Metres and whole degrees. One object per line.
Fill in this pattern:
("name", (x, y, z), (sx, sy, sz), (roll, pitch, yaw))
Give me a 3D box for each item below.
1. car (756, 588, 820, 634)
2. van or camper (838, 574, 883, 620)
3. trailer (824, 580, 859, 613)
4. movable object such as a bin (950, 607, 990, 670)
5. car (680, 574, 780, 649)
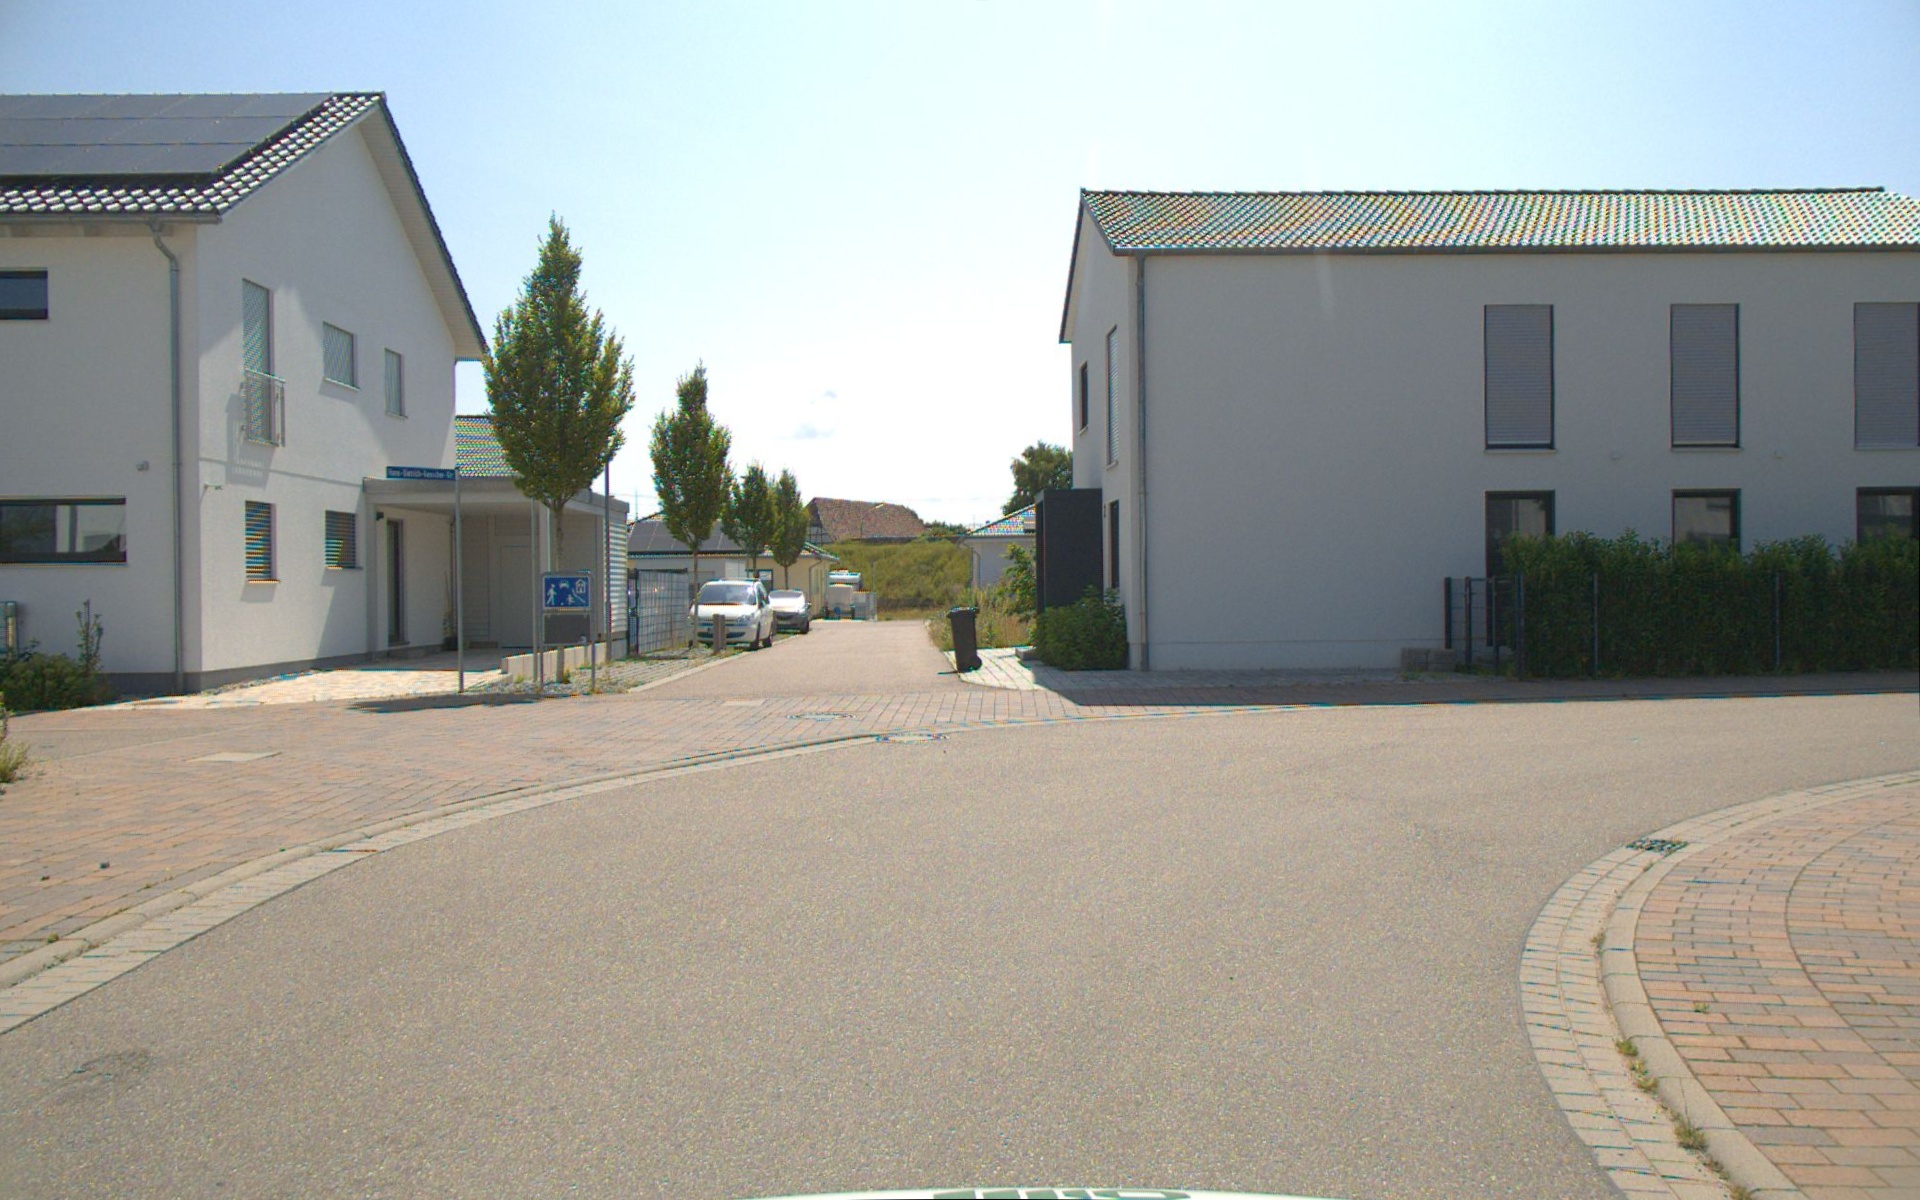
("car", (-6.436, 0.393, 62.381), (1.953, 1.642, 4.484), (1, 0, -1))
("van or camper", (-5.447, -0.168, 91.119), (2.217, 2.453, 4.844), (1, 0, -1))
("trailer", (-5.974, -0.173, 83.734), (1.594, 1.642, 2.561), (1, 0, -1))
("movable object such as a bin", (0.152, 0.601, 26.285), (0.587, 0.965, 0.501), (-2, 0, -2))
("car", (-5.895, 0.289, 42.945), (1.953, 1.821, 4.646), (1, 0, -1))
